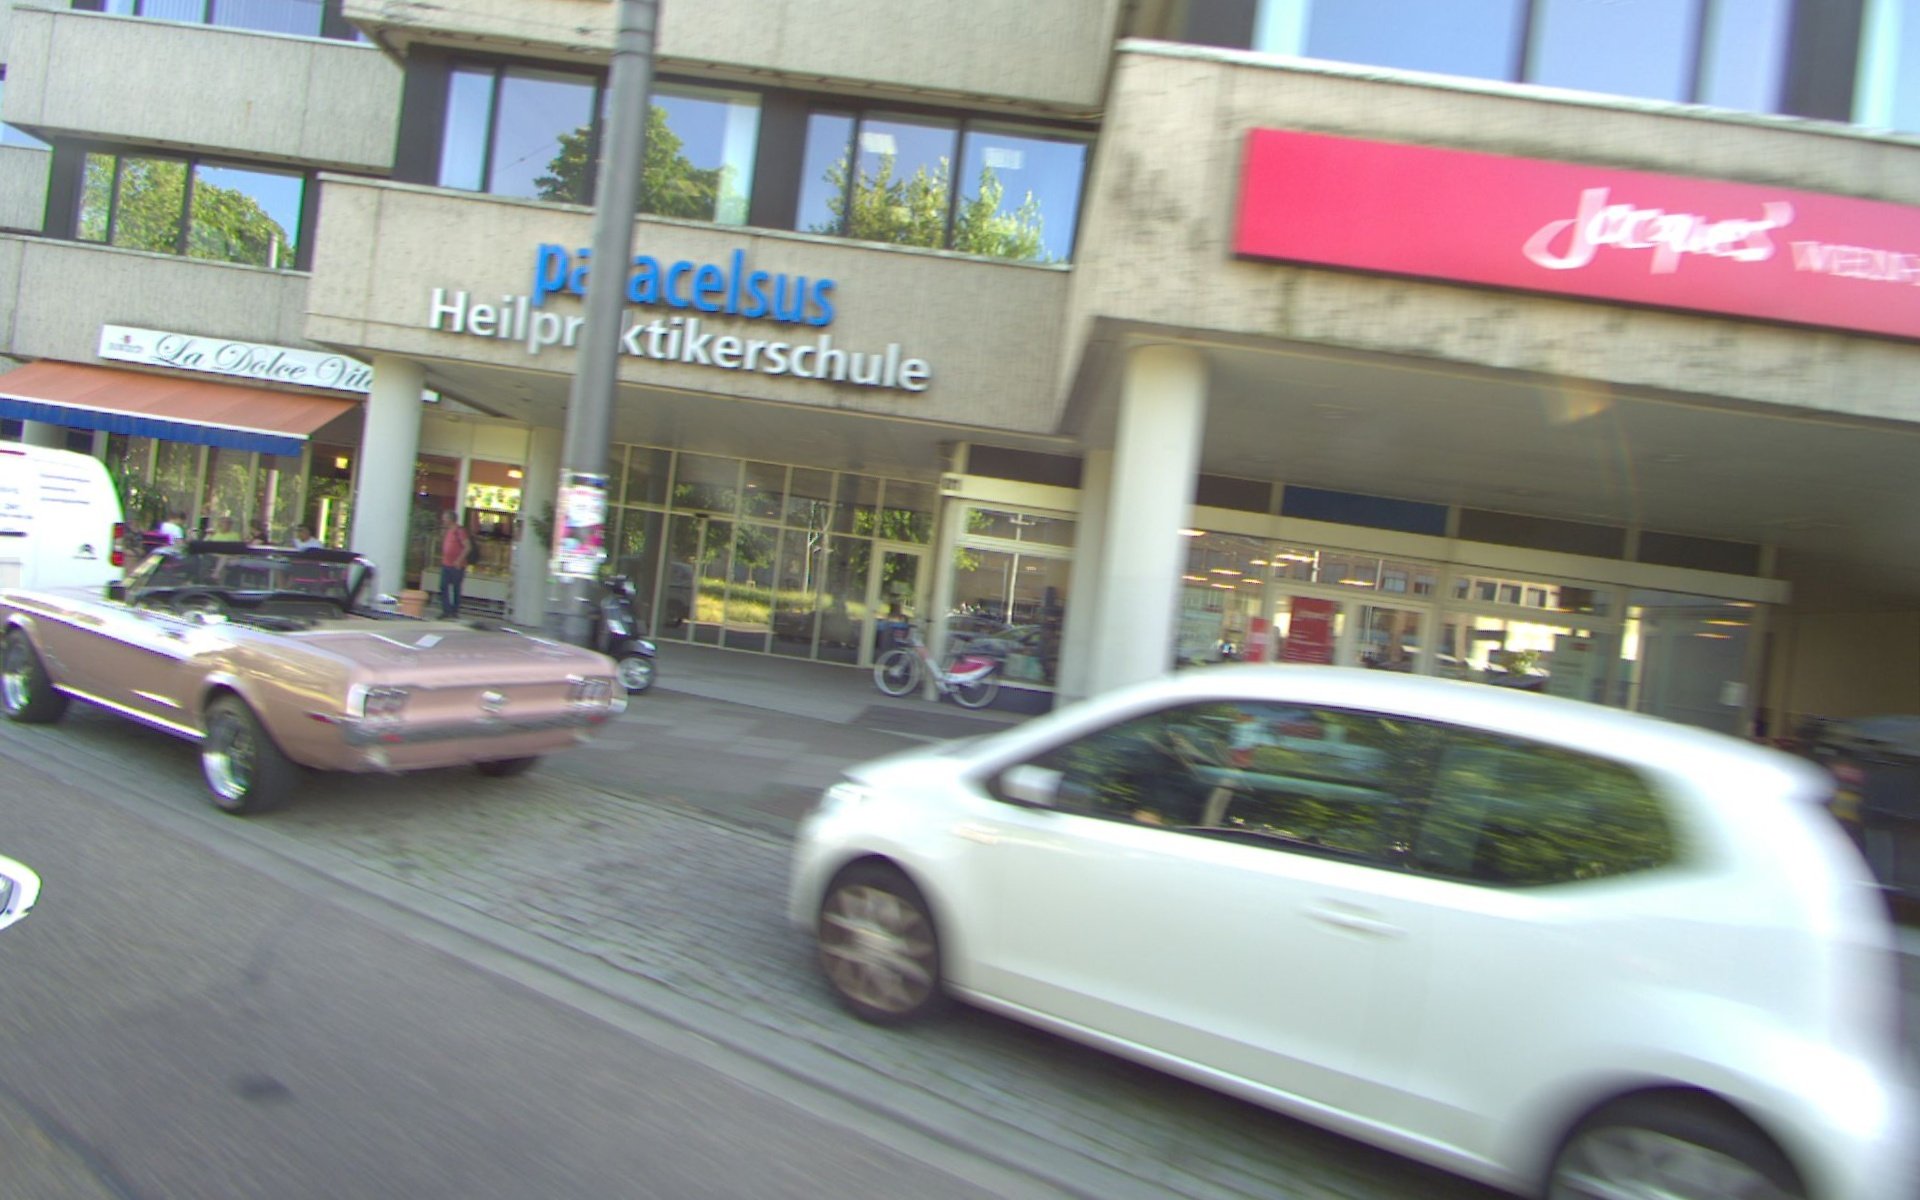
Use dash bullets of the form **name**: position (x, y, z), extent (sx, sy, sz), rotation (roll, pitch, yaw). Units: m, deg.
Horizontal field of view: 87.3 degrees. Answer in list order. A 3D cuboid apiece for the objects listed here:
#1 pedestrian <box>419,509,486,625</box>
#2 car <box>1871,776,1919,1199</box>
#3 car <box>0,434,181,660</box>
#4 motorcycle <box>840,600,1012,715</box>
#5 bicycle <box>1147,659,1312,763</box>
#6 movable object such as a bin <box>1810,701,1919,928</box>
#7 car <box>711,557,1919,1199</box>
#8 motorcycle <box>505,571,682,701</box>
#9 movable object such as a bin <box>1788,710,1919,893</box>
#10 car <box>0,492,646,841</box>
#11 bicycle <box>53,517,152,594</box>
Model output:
- **pedestrian**: position (-8.578, -0.545, 17.031), extent (0.695, 1.836, 0.714), rotation (7, -2, -18)
- **car**: position (4.599, 1.458, 1.728), extent (4.129, 1.536, 1.675), rotation (5, -3, 30)
- **car**: position (-9.849, -0.627, 9.668), extent (4.235, 1.833, 1.999), rotation (6, -2, 28)
- **motorcycle**: position (-0.453, 0.748, 13.234), extent (2.062, 1.181, 0.513), rotation (8, -1, 16)
- **bicycle**: position (3.224, 1.328, 11.986), extent (1.837, 0.992, 0.677), rotation (9, -2, -28)
- **movable object such as a bin**: position (6.826, 1.523, 7.181), extent (0.944, 1.449, 1.302), rotation (5, -2, 36)
- **car**: position (1.256, 0.944, 3.713), extent (3.800, 1.708, 1.857), rotation (6, -2, 28)
- **motorcycle**: position (-3.938, 0.355, 10.735), extent (2.017, 1.170, 0.763), rotation (5, 1, 38)
- **movable object such as a bin**: position (7.896, 1.727, 8.803), extent (0.839, 1.399, 0.793), rotation (5, -2, 36)
- **car**: position (-4.416, 0.256, 6.481), extent (4.651, 1.470, 1.778), rotation (5, -3, 30)
- **bicycle**: position (-13.632, -0.717, 15.992), extent (1.616, 1.046, 0.564), rotation (6, -2, 29)
